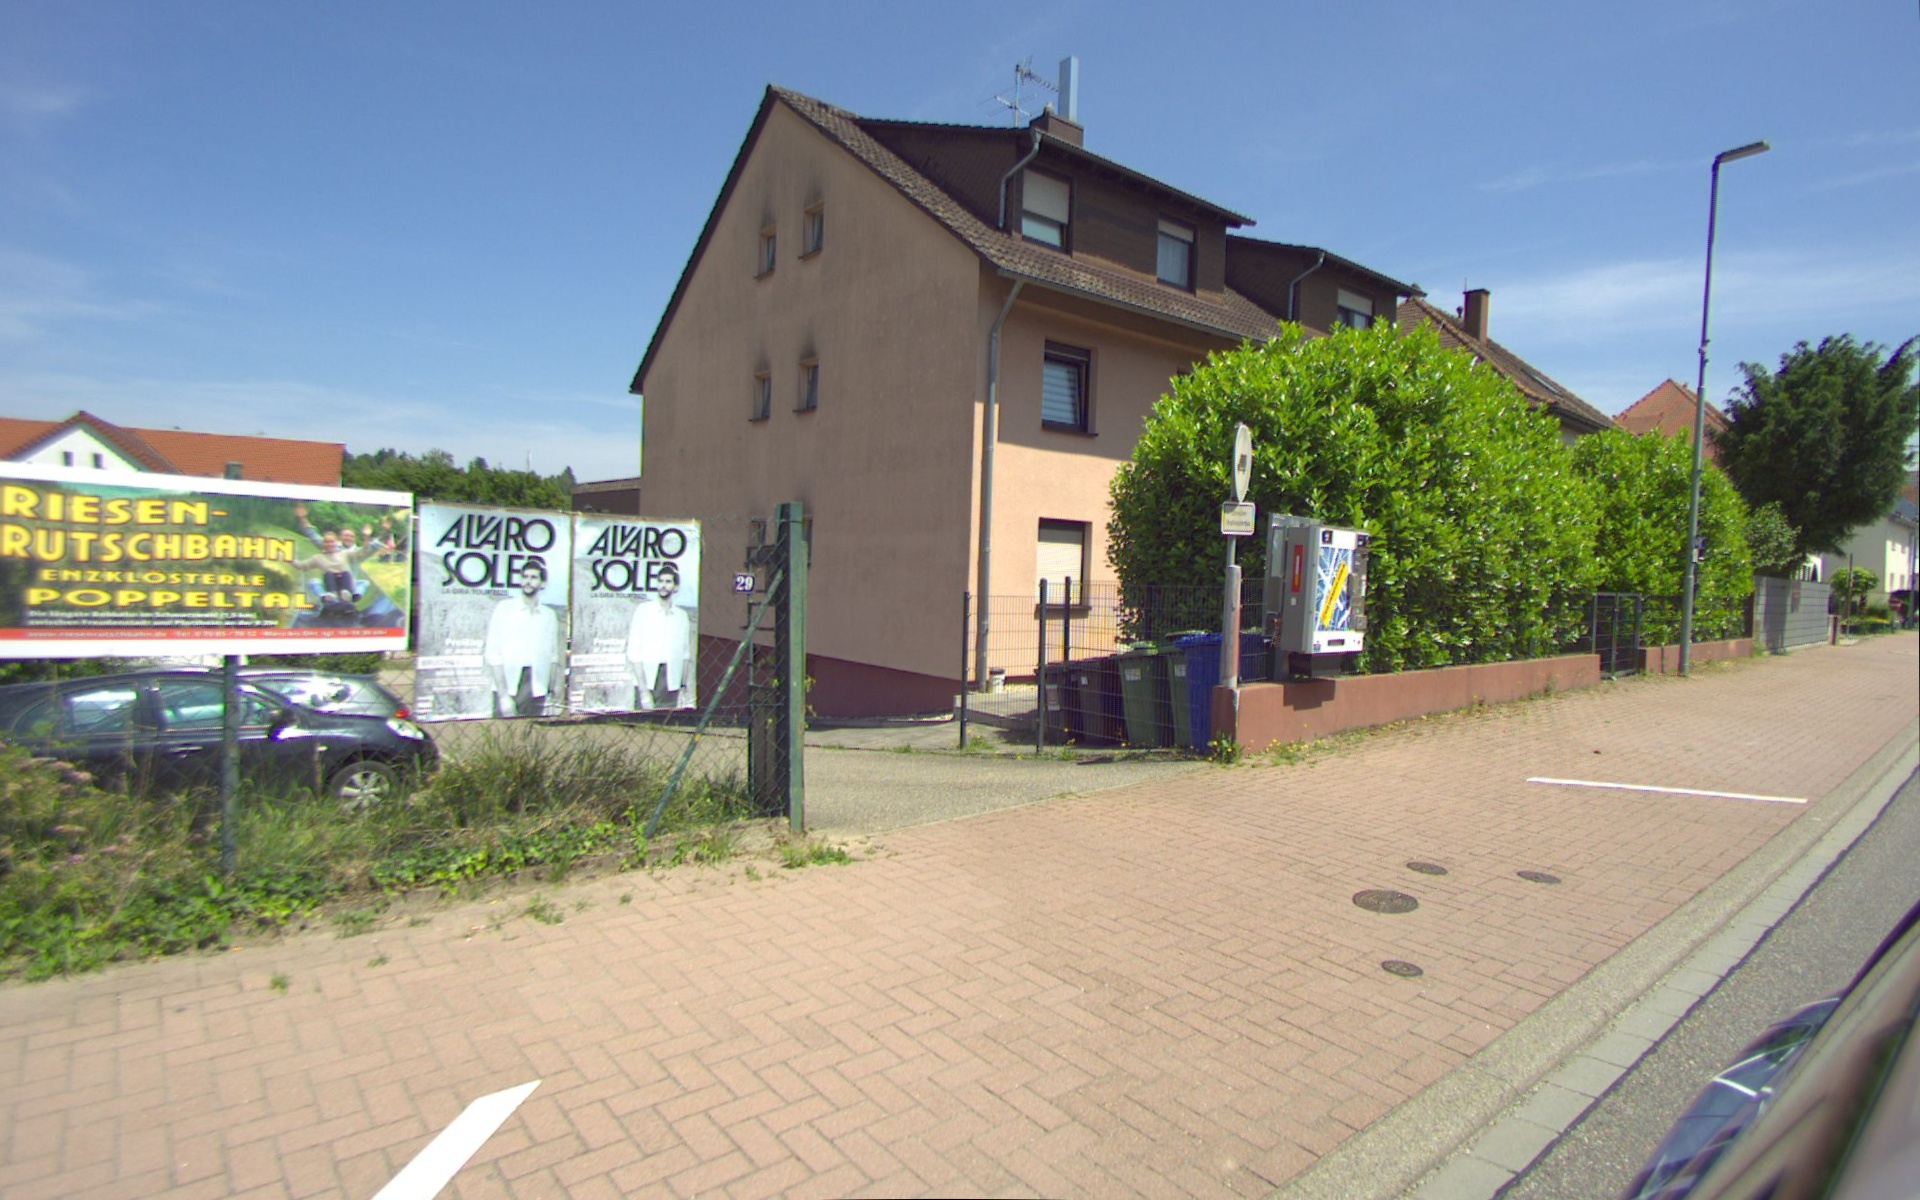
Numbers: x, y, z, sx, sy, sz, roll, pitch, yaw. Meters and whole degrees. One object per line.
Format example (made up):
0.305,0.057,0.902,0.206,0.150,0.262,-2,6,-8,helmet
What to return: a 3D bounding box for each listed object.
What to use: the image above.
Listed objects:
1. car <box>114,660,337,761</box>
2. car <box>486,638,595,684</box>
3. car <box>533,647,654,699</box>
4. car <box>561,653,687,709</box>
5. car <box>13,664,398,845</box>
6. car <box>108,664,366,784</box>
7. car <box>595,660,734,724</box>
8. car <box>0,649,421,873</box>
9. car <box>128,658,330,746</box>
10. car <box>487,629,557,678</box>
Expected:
-13.575,1.986,18.802,3.234,1.492,1.325,-2,-3,-40,car
-15.465,2.219,37.369,3.468,1.459,1.552,-1,0,-36,car
-12.216,2.396,33.792,3.468,1.459,1.748,-1,0,-36,car
-10.624,2.525,32.028,3.466,1.459,1.749,-1,0,-34,car
-8.141,1.594,11.249,3.228,1.492,1.328,-3,-3,-31,car
-11.545,1.914,16.272,3.234,1.492,1.325,-2,-3,-40,car
-8.442,2.578,28.953,3.466,1.459,1.749,-1,0,-34,car
-6.858,1.341,8.865,3.508,1.492,1.494,-2,-5,-40,car
-15.270,2.086,21.217,3.323,1.492,1.325,-2,-3,-40,car
-17.676,2.131,40.781,1.684,1.852,3.996,0,-2,-37,car
